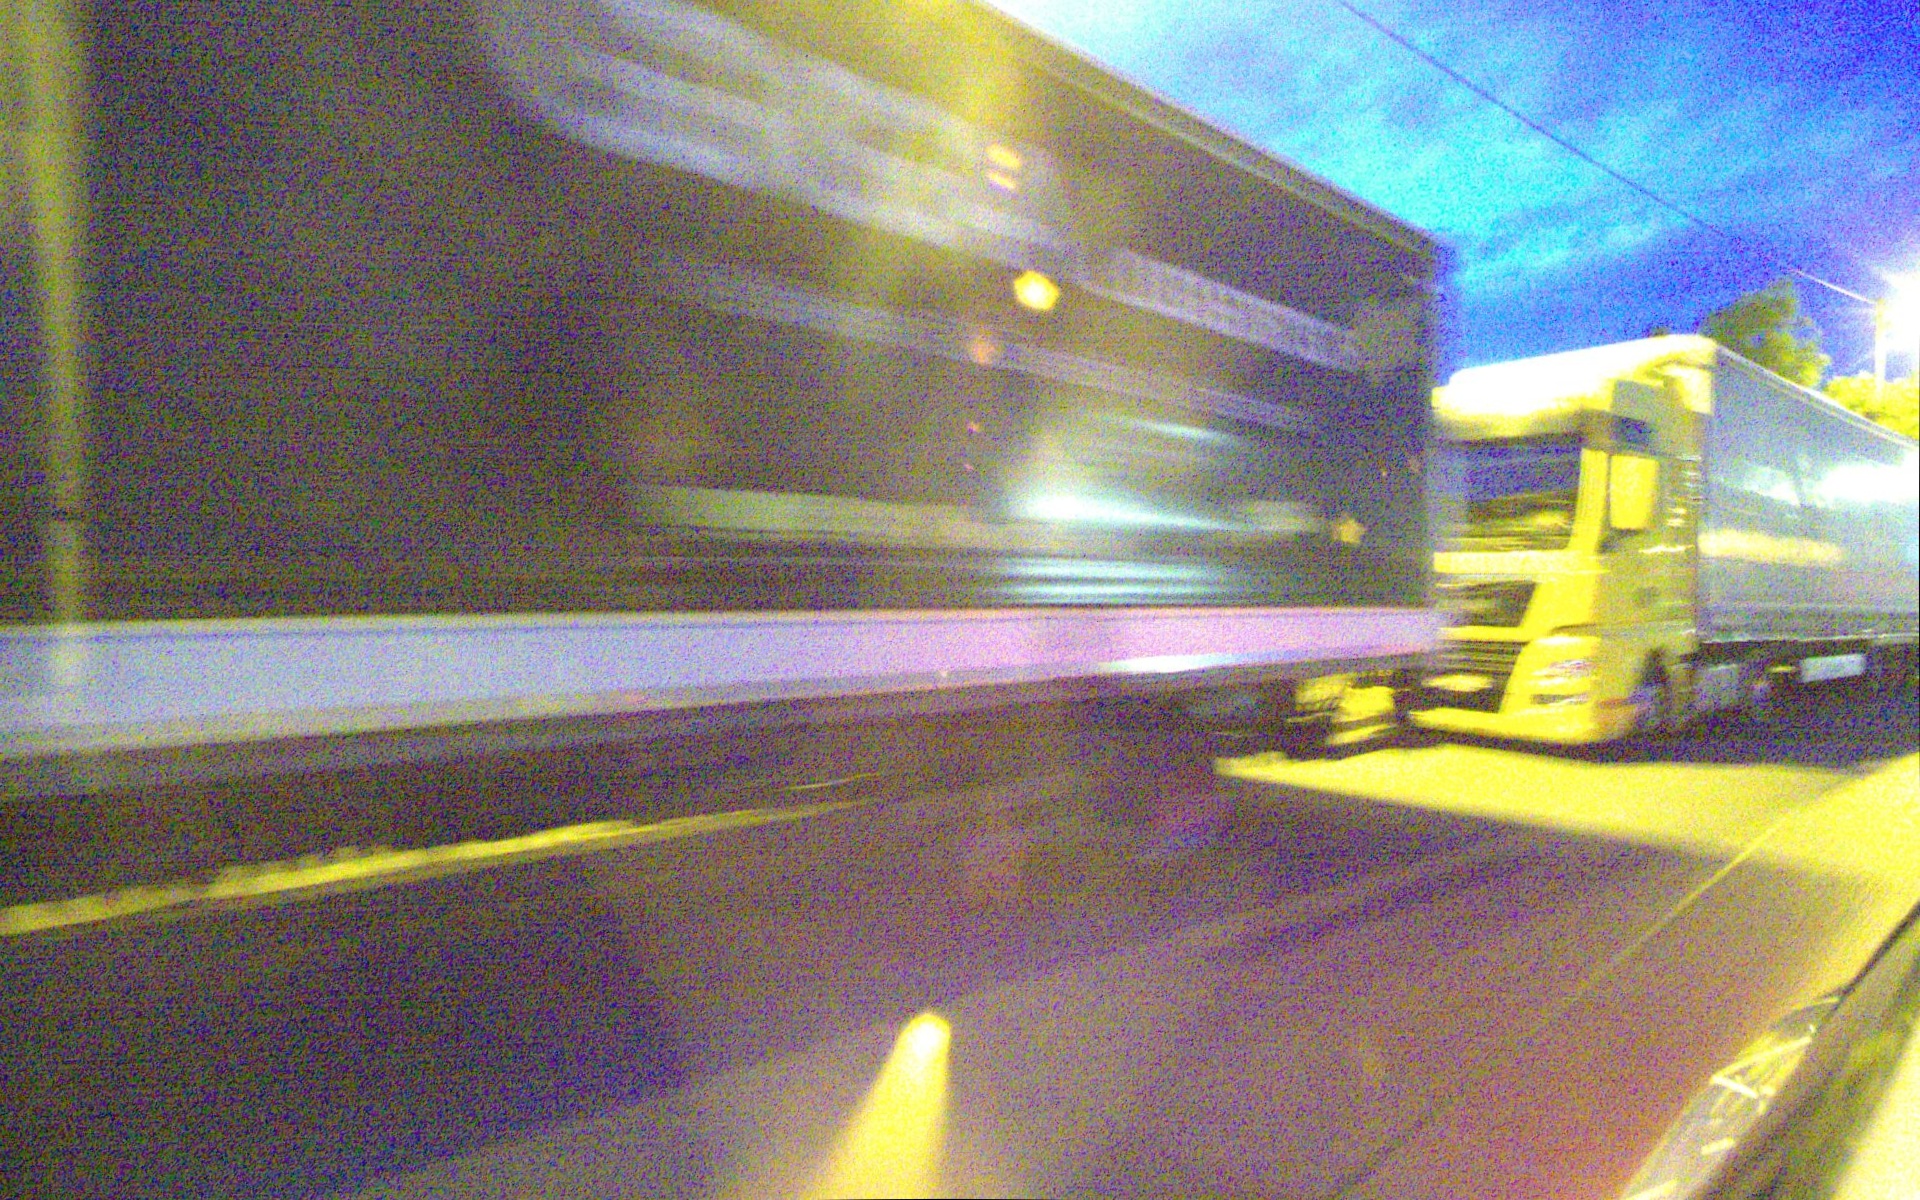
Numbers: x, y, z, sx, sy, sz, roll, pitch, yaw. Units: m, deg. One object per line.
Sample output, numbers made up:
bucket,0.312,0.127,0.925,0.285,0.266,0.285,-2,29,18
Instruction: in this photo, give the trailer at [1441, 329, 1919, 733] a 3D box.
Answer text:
trailer,12.241,-0.723,15.334,13.712,4.033,2.817,0,0,-36

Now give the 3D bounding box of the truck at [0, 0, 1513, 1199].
truck,-1.104,-0.715,4.727,10.156,4.033,2.837,-1,1,-39

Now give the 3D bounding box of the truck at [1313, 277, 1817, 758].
truck,6.974,-0.748,11.409,5.937,4.033,2.838,-1,1,-37
